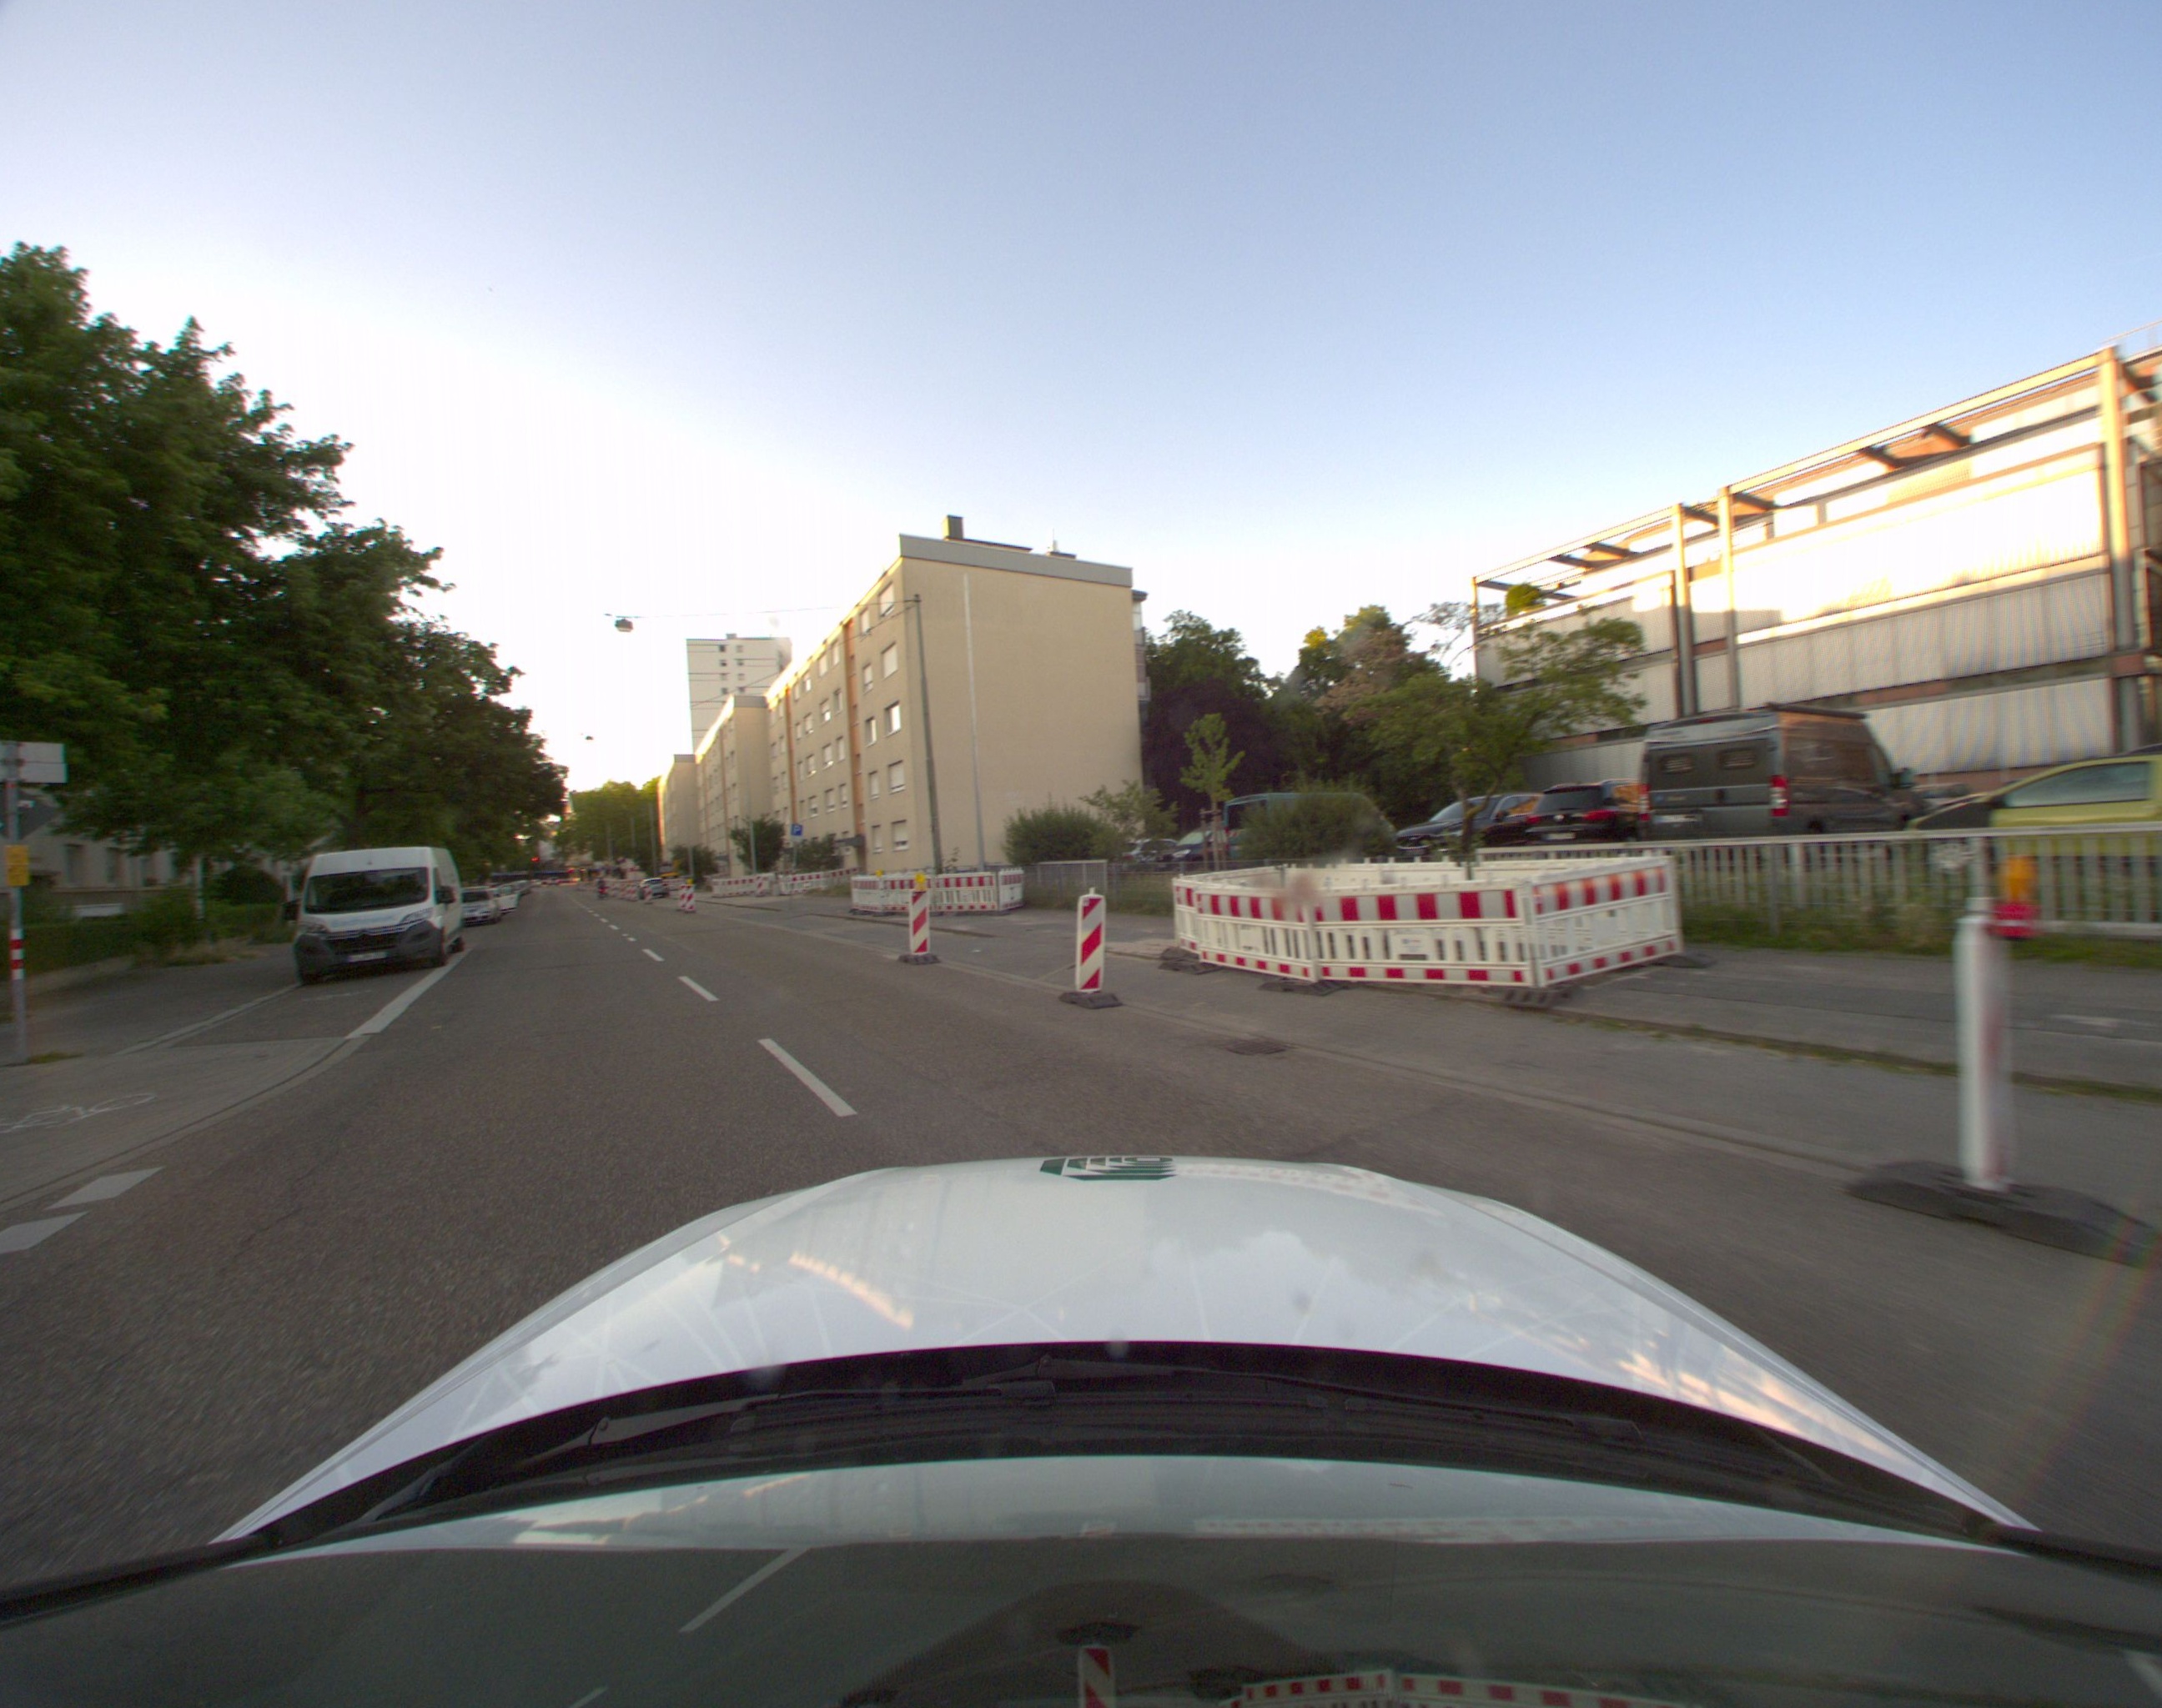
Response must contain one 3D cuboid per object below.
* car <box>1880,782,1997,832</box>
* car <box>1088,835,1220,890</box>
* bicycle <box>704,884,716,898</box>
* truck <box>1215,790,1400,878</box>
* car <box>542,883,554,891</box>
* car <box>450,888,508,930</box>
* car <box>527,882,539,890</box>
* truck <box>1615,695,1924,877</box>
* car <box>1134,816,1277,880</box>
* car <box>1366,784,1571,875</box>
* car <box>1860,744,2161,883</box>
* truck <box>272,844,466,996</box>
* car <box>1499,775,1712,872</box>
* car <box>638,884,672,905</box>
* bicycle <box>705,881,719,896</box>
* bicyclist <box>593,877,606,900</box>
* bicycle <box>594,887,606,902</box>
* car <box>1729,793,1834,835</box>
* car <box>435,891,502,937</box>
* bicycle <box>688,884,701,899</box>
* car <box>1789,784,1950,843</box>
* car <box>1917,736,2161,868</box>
[{"bbox_3d":[30.589,-1.676,29.032,4.191,1.537,1.885,-4,0,-29],"label":"car"},{"bbox_3d":[2.619,0.297,28.877,4.240,1.647,1.981,-3,0,-30],"label":"car"},{"bbox_3d":[-30.449,3.010,66.868,0.621,1.107,2.212,-3,0,-31],"label":"bicycle"},{"bbox_3d":[6.158,-0.549,22.116,4.522,2.090,2.094,-3,0,-26],"label":"truck"},{"bbox_3d":[-110.314,6.761,168.609,1.708,1.443,3.415,-7,2,-37],"label":"car"},{"bbox_3d":[-27.795,2.487,37.698,1.769,1.603,3.886,-6,2,-33],"label":"car"},{"bbox_3d":[-108.769,6.393,161.584,1.770,1.443,3.416,-6,2,-35],"label":"car"},{"bbox_3d":[11.792,-1.094,13.896,4.987,2.616,2.319,-4,0,-29],"label":"truck"},{"bbox_3d":[4.056,-0.201,26.412,4.240,1.826,1.981,-3,0,-30],"label":"car"},{"bbox_3d":[8.549,-0.553,17.881,4.316,1.727,1.980,-4,0,-32],"label":"car"},{"bbox_3d":[12.127,-0.467,9.798,1.641,1.503,3.610,-4,0,-28],"label":"car"},{"bbox_3d":[-14.353,1.196,16.832,2.117,2.422,5.982,-5,1,-34],"label":"truck"},{"bbox_3d":[10.508,-0.622,16.279,4.014,1.692,1.980,-4,0,-32],"label":"car"},{"bbox_3d":[-31.702,2.971,60.492,1.792,1.390,3.958,-3,0,-33],"label":"car"},{"bbox_3d":[-27.894,2.611,61.501,0.621,1.107,2.212,-3,0,-31],"label":"bicycle"},{"bbox_3d":[-38.848,2.796,65.735,0.797,1.800,1.006,-3,0,-33],"label":"bicyclist"},{"bbox_3d":[-38.578,3.230,65.336,0.646,1.115,3.023,-3,0,-33],"label":"bicycle"},{"bbox_3d":[28.556,-1.625,33.181,4.191,1.432,1.885,-4,0,-29],"label":"car"},{"bbox_3d":[-24.684,2.362,32.932,1.769,1.483,3.886,-6,2,-33],"label":"car"},{"bbox_3d":[-31.446,3.053,66.260,0.621,1.107,2.212,-3,0,-31],"label":"bicycle"},{"bbox_3d":[21.251,-1.102,21.929,4.377,1.305,1.927,-4,0,-29],"label":"car"},{"bbox_3d":[14.371,-0.711,10.598,1.579,1.638,4.556,-4,0,-27],"label":"car"}]
